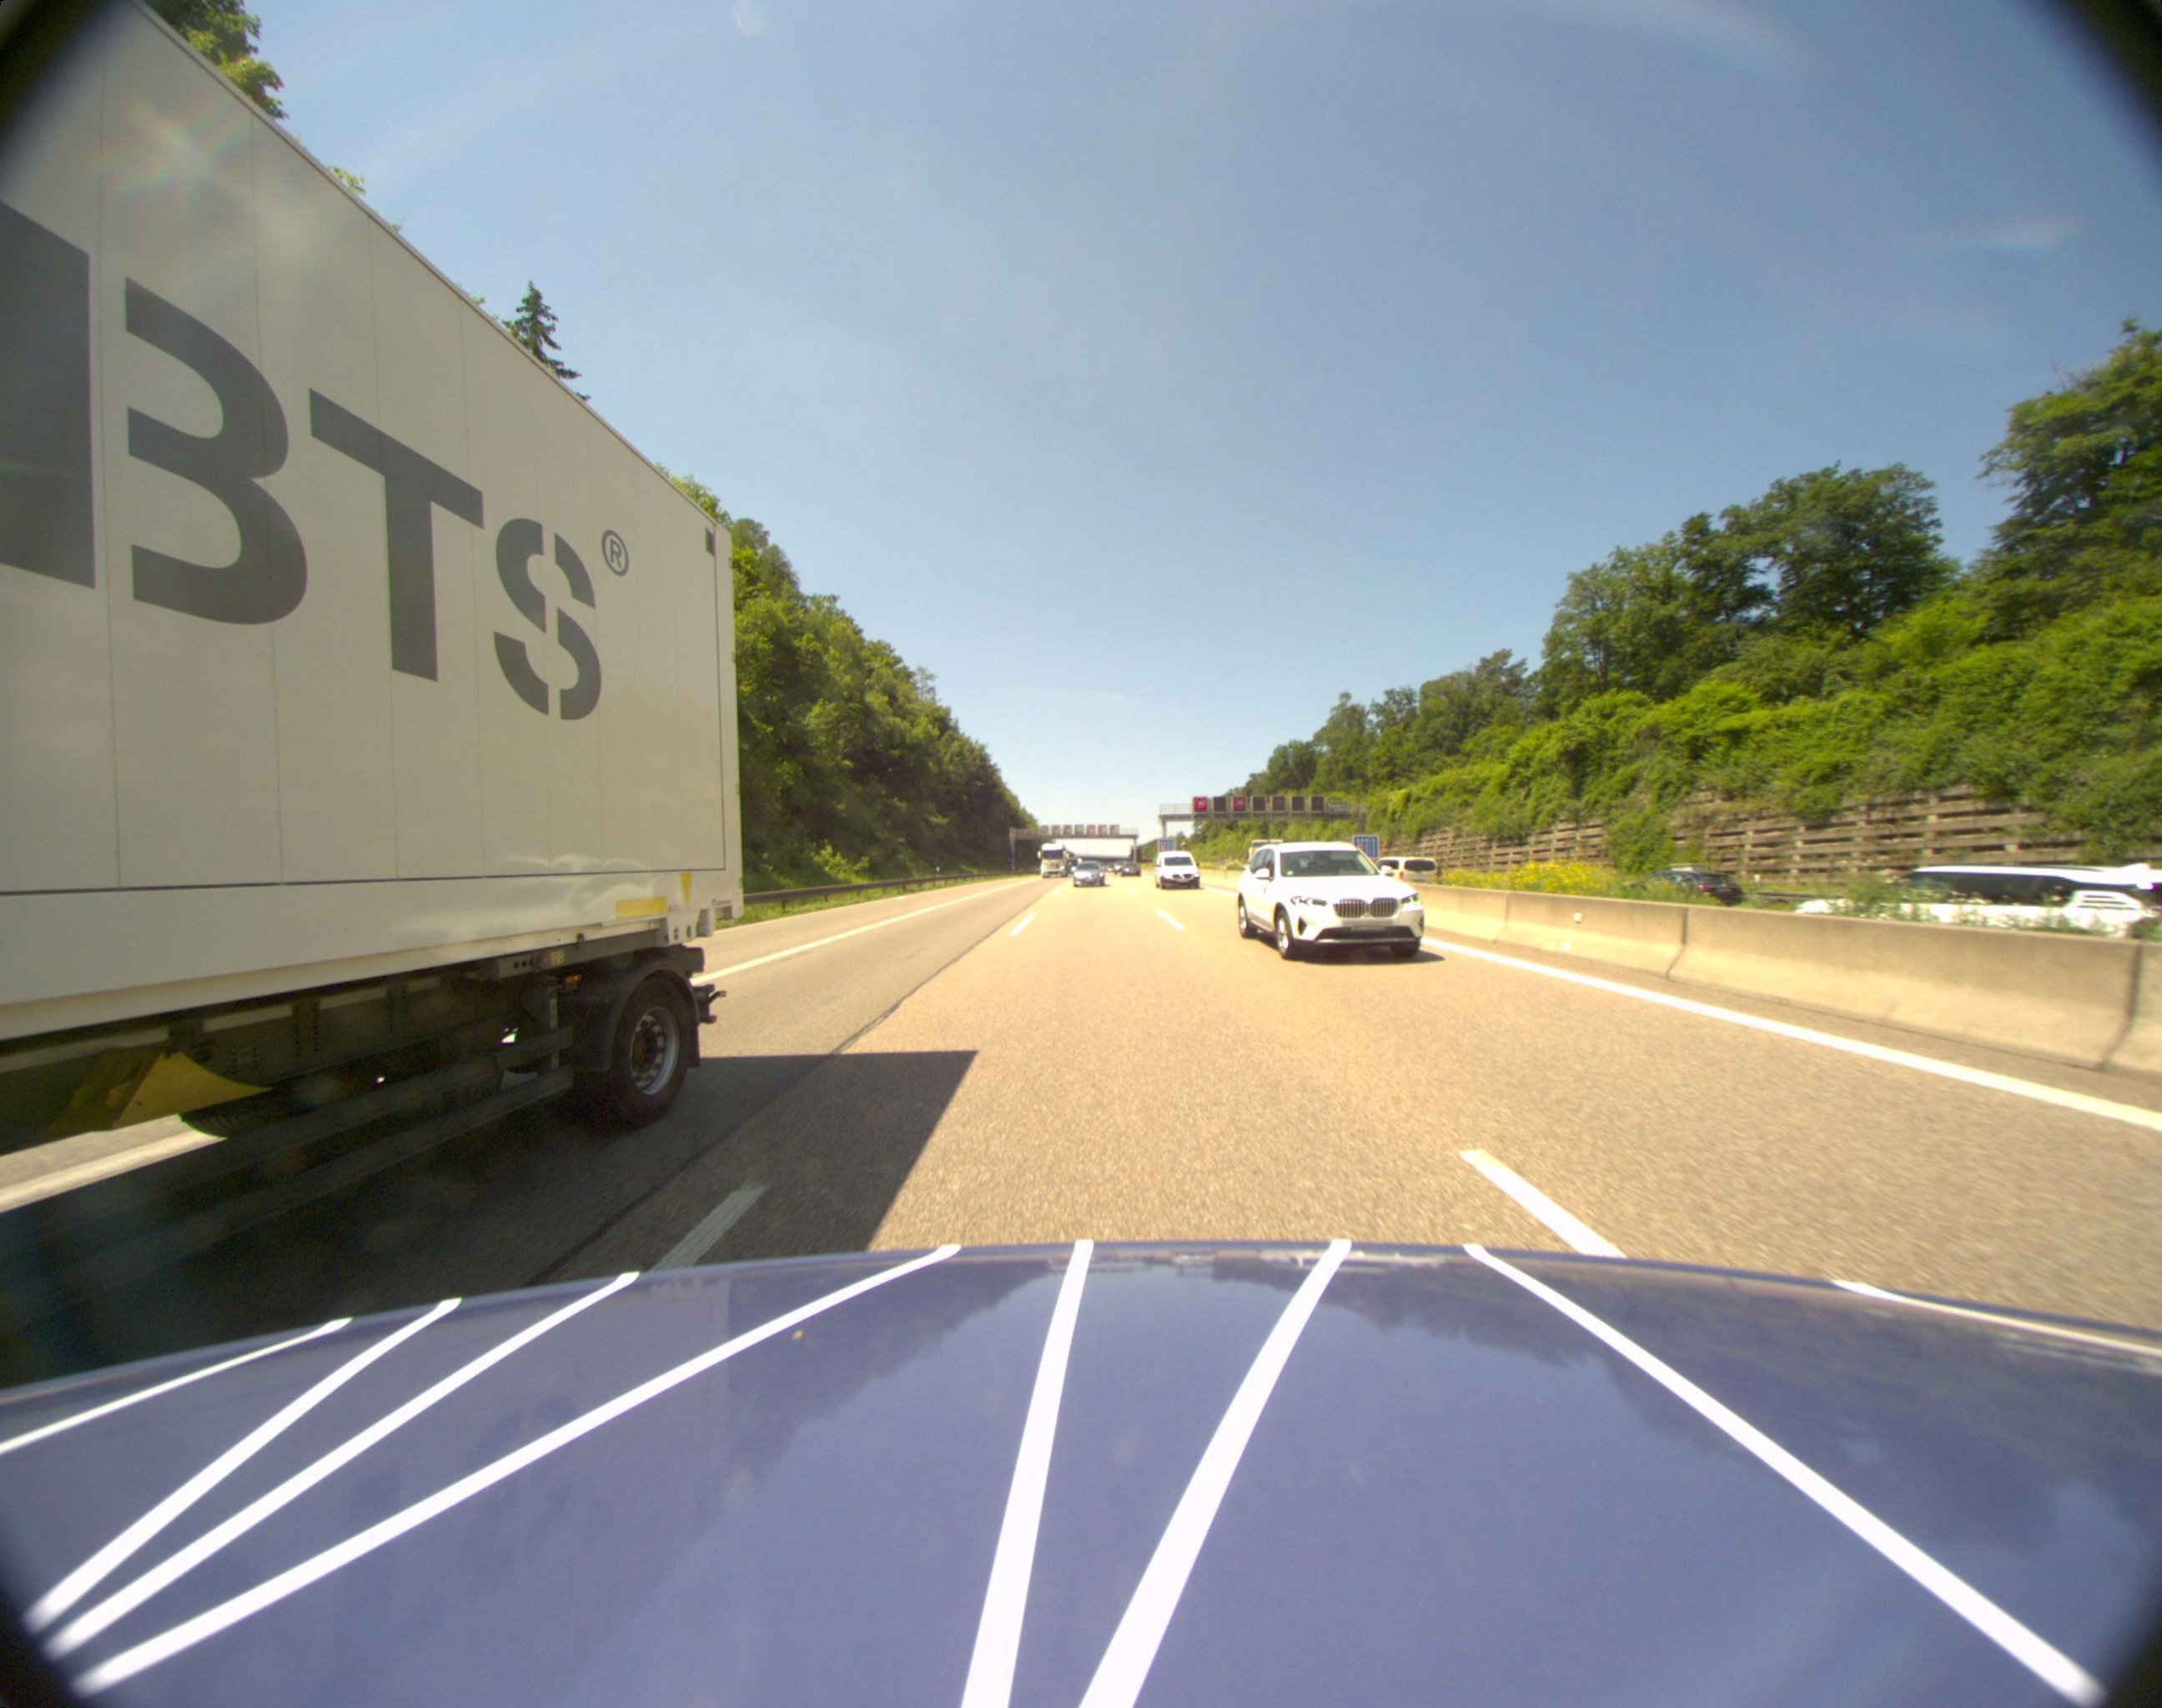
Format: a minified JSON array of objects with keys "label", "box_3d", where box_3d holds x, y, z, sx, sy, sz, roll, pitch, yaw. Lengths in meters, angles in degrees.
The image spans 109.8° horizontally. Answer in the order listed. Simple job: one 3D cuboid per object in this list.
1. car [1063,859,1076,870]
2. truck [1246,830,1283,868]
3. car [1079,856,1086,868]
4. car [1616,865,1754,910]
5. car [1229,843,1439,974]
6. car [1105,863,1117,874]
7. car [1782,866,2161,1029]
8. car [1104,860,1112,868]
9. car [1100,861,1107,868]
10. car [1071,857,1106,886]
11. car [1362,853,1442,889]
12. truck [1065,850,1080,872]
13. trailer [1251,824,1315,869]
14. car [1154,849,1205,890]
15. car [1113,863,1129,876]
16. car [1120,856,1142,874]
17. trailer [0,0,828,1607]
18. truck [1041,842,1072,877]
[{"label":"car","box_3d":[-1.698,1.559,114.971,1.770,1.504,4.000,-3,-1,0]},{"label":"truck","box_3d":[20.052,-0.506,83.375,2.687,4.006,5.931,-1,-1,0]},{"label":"car","box_3d":[0.515,2.503,228.179,1.924,3.522,4.825,-3,-1,2]},{"label":"car","box_3d":[22.735,1.219,28.851,1.942,1.513,4.203,0,0,1]},{"label":"car","box_3d":[3.712,0.697,12.030,1.850,1.634,4.368,-2,0,0]},{"label":"car","box_3d":[5.230,2.469,133.220,1.924,1.848,4.001,-3,-1,2]},{"label":"car","box_3d":[11.503,0.939,9.363,1.942,1.513,4.203,0,0,2]},{"label":"car","box_3d":[6.439,2.440,180.374,1.924,1.848,4.001,-3,-1,2]},{"label":"car","box_3d":[6.120,2.799,206.471,1.924,1.848,4.001,-3,-1,2]},{"label":"car","box_3d":[0.491,0.999,44.234,1.843,1.517,4.502,-3,-1,2]},{"label":"car","box_3d":[15.708,0.808,37.461,1.897,1.597,5.078,-1,-1,2]},{"label":"truck","box_3d":[-1.814,1.425,160.802,2.627,4.364,13.089,-3,-1,0]},{"label":"trailer","box_3d":[19.977,-0.594,76.282,2.687,3.991,14.190,-1,-1,0]},{"label":"car","box_3d":[4.717,0.746,37.022,1.998,1.764,4.502,-3,-1,2]},{"label":"car","box_3d":[5.033,1.911,96.448,1.770,1.504,4.000,-3,-1,0]},{"label":"car","box_3d":[4.791,1.057,73.033,1.770,1.504,4.726,-3,-1,0]},{"label":"trailer","box_3d":[-3.867,-0.309,2.198,2.687,4.151,10.066,-2,-1,1]},{"label":"truck","box_3d":[-2.618,0.678,85.858,2.844,3.517,13.089,-3,-1,0]}]
